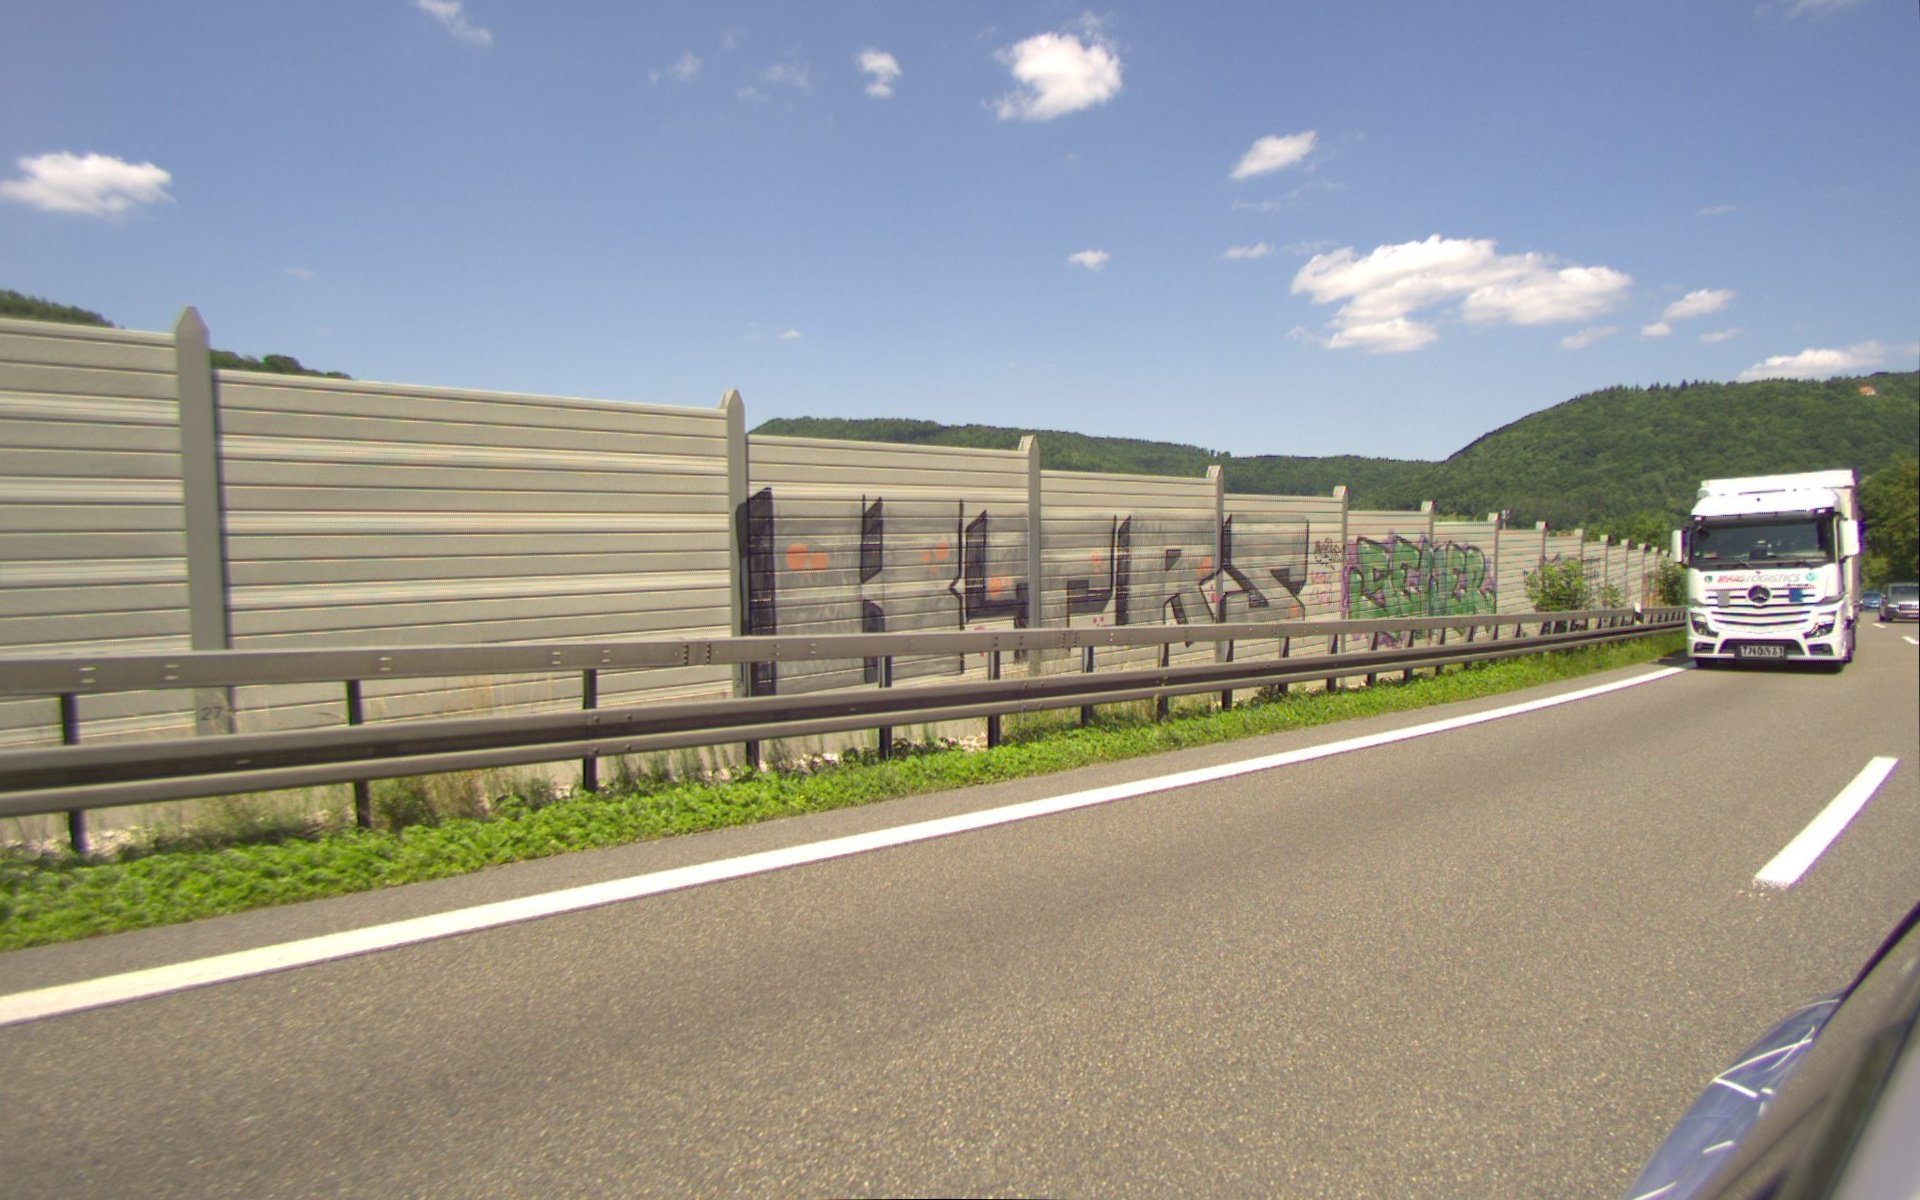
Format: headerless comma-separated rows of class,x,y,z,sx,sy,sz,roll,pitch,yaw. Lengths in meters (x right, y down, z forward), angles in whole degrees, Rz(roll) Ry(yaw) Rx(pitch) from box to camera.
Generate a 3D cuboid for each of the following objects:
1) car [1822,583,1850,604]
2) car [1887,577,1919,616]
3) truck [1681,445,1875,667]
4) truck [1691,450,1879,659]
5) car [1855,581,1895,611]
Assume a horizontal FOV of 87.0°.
car,89.486,-0.664,103.377,1.991,2.038,3.943,2,2,39
car,47.410,-0.144,49.931,2.033,1.889,3.947,2,1,36
truck,17.956,-0.853,22.041,2.757,4.089,6.716,0,0,44
truck,21.237,-0.922,25.676,2.853,4.200,11.858,-1,-1,43
car,66.393,-0.297,73.471,1.992,2.038,3.941,2,2,40
